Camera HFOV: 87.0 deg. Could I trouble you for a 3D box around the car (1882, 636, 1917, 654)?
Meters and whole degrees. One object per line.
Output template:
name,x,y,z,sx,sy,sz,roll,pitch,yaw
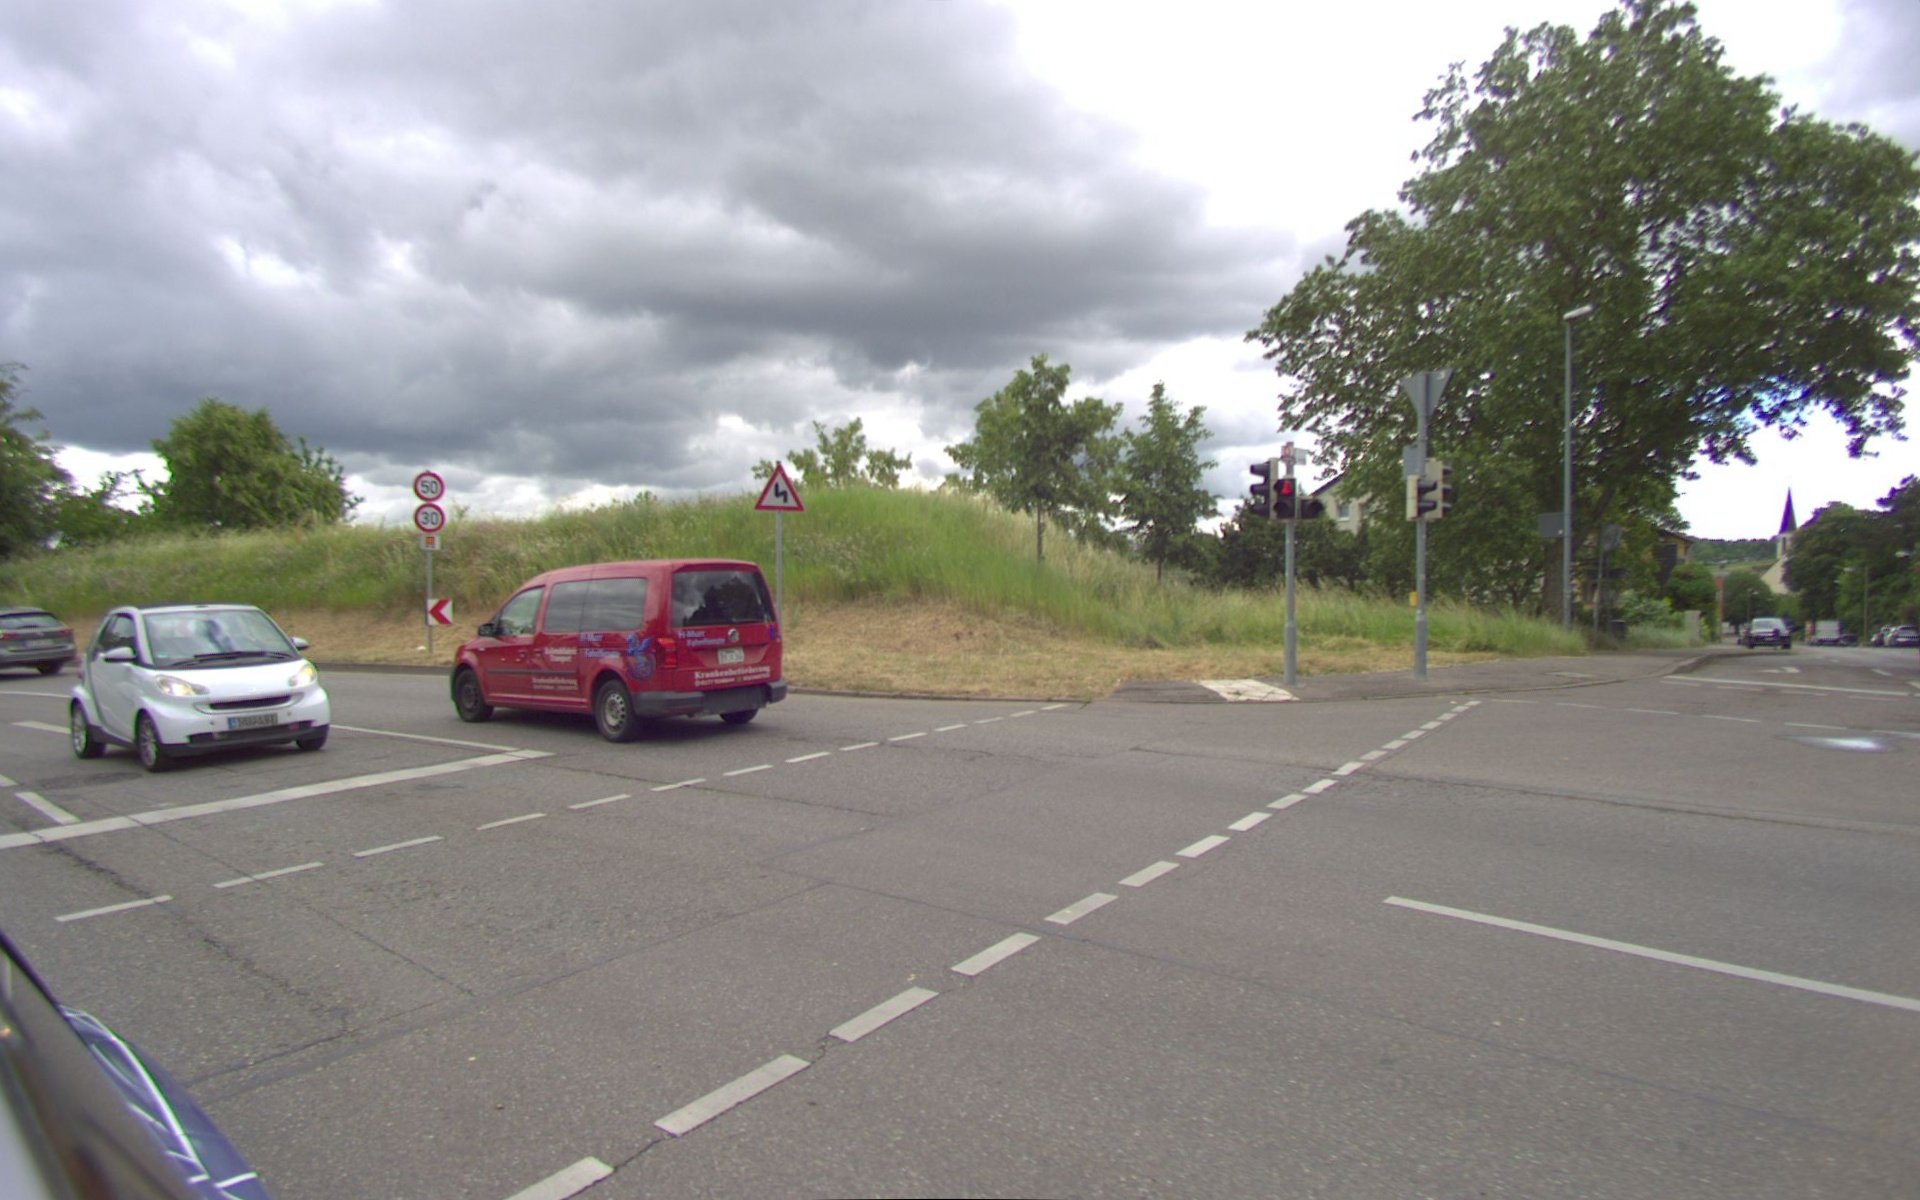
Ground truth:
car,73.283,3.500,79.006,1.693,1.320,3.947,-1,-3,39

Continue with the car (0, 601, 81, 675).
car,-21.006,0.809,21.341,4.386,1.430,1.760,-1,1,19

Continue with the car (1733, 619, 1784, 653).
car,35.255,1.557,44.696,1.693,1.320,3.948,-1,0,39

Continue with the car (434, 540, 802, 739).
car,-4.036,0.383,11.500,4.720,1.839,1.672,-1,0,39

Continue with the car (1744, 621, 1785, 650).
car,43.531,1.901,54.814,1.670,1.364,3.685,0,1,38

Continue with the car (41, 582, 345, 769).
car,-7.876,0.676,10.348,3.009,1.569,1.562,-1,2,35

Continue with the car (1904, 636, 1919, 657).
car,66.021,3.158,69.267,1.693,1.320,3.948,-1,-1,39
